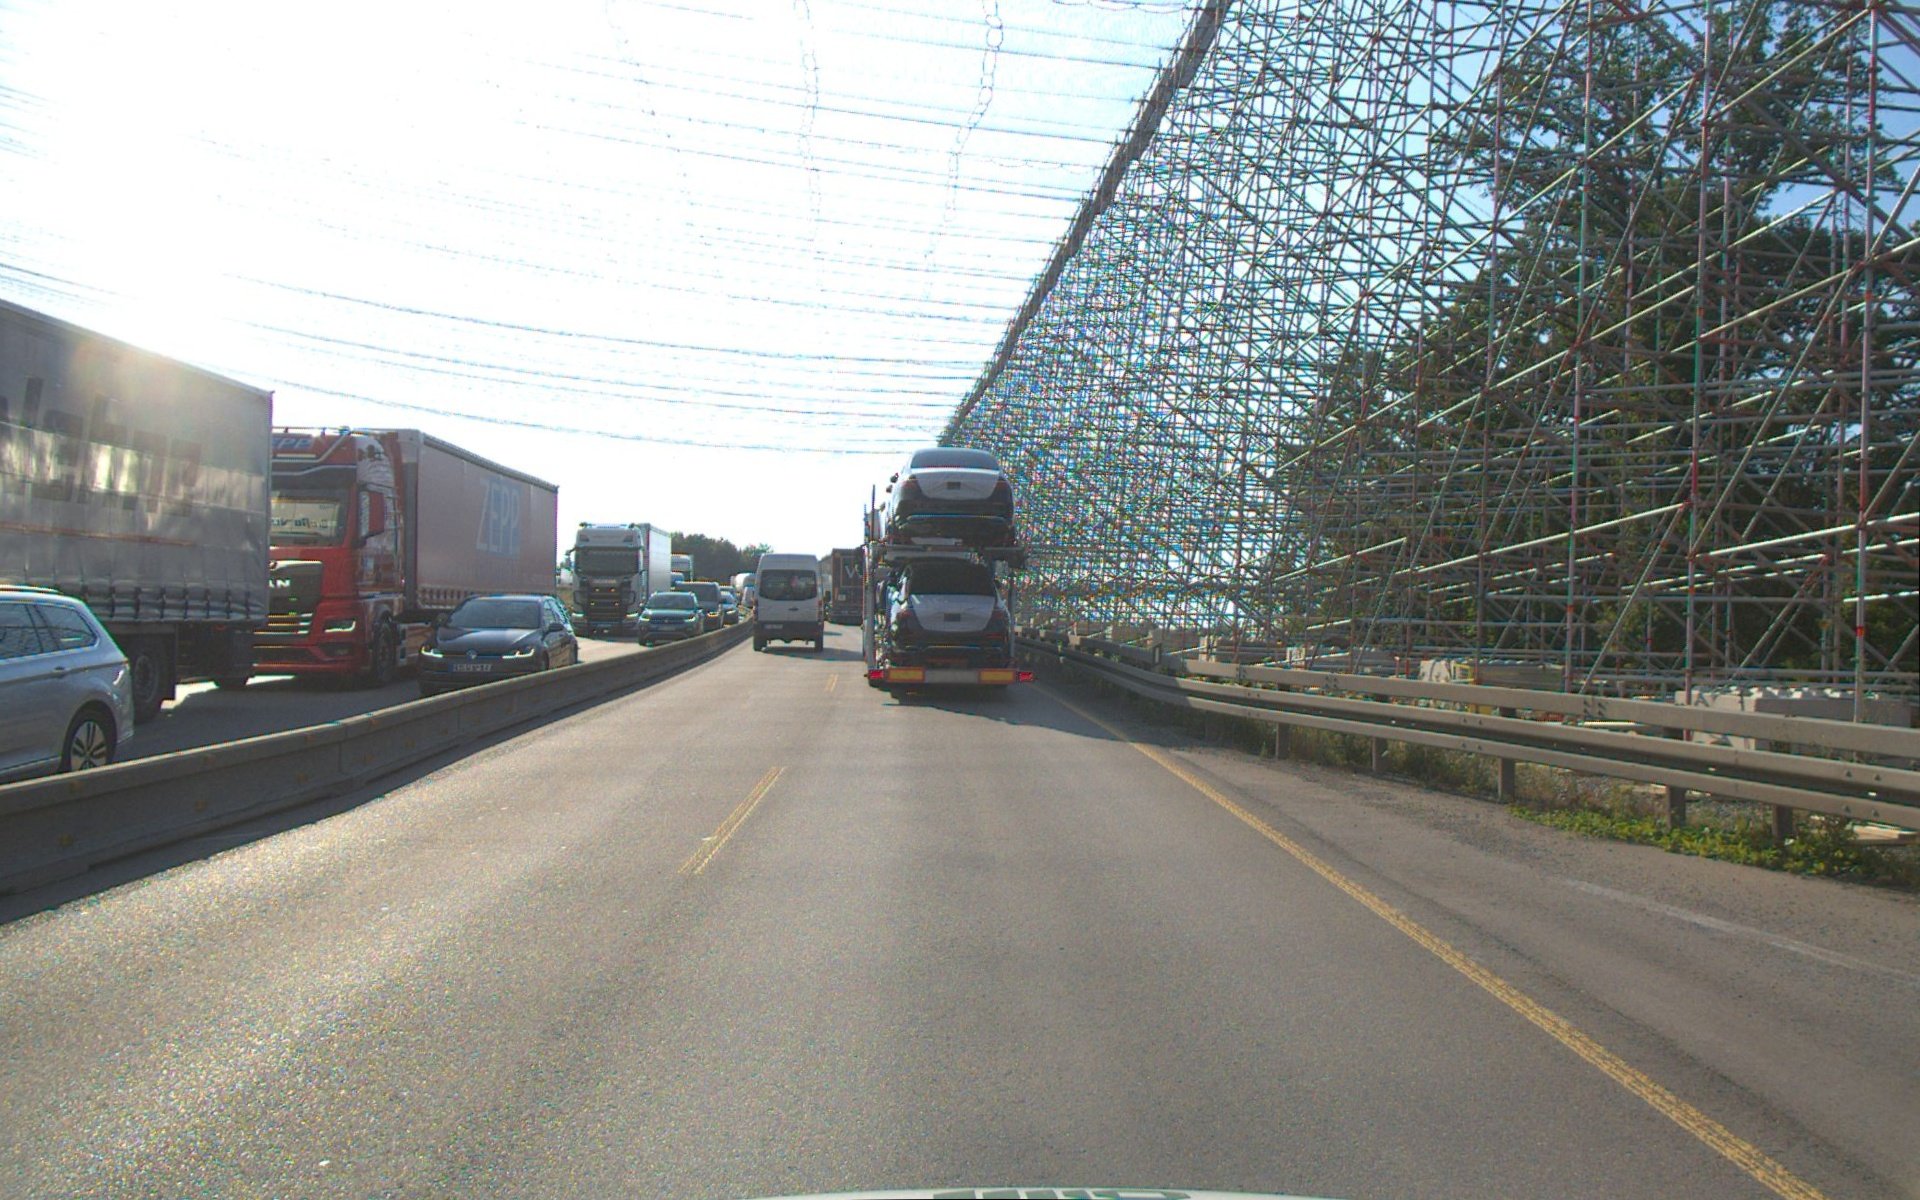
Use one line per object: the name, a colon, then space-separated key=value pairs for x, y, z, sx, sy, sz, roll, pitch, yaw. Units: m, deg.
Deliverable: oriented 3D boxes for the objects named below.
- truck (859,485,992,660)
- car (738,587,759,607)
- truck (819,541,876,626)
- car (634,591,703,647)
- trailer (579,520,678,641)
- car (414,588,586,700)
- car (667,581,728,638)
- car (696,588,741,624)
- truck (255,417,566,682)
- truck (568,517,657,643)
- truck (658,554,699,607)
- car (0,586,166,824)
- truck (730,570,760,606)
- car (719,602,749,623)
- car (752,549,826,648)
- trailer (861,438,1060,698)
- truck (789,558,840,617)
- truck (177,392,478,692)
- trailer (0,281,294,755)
truck: x=-0.925 y=-0.573 z=39.473 sx=2.824 sy=3.767 sz=7.320 roll=1 pitch=0 yaw=-3
car: x=-17.409 y=-0.241 z=136.156 sx=1.679 sy=1.646 sz=3.496 roll=1 pitch=0 yaw=-8
truck: x=-6.515 y=-0.926 z=94.683 sx=2.680 sy=4.462 sz=11.506 roll=2 pitch=0 yaw=-6
car: x=-8.802 y=0.547 z=50.173 sx=1.709 sy=1.561 sz=4.262 roll=2 pitch=0 yaw=-6
trailer: x=-13.248 y=-0.741 z=67.090 sx=2.603 sy=4.307 sz=13.900 roll=2 pitch=0 yaw=-6
car: x=-6.853 y=0.612 z=25.066 sx=1.618 sy=1.489 sz=4.396 roll=2 pitch=0 yaw=-4
car: x=-9.657 y=0.333 z=61.098 sx=1.838 sy=1.969 sz=4.856 roll=2 pitch=0 yaw=-5
car: x=-11.020 y=0.268 z=75.836 sx=1.750 sy=1.528 sz=4.748 roll=2 pitch=0 yaw=-6
truck: x=-10.466 y=-0.763 z=33.482 sx=2.733 sy=4.214 sz=13.793 roll=1 pitch=0 yaw=-5
truck: x=-12.533 y=-0.683 z=60.125 sx=2.612 sy=4.304 sz=6.095 roll=1 pitch=0 yaw=-7
truck: x=-20.319 y=-1.356 z=118.969 sx=2.548 sy=3.534 sz=12.360 roll=2 pitch=0 yaw=-11
car: x=-6.740 y=0.631 z=9.902 sx=1.697 sy=1.464 sz=4.836 roll=1 pitch=0 yaw=-1
truck: x=-23.794 y=-1.290 z=182.638 sx=2.570 sy=3.788 sz=9.632 roll=2 pitch=0 yaw=-11
car: x=-16.850 y=0.933 z=123.319 sx=1.805 sy=1.479 sz=3.987 roll=2 pitch=0 yaw=-13
car: x=-4.865 y=-0.006 z=46.594 sx=1.920 sy=2.667 sz=3.992 roll=0 pitch=-1 yaw=-8
trailer: x=-0.428 y=-0.419 z=31.745 sx=2.812 sy=3.790 sz=14.935 roll=1 pitch=0 yaw=-4
truck: x=-11.425 y=-0.933 z=130.593 sx=3.615 sy=4.294 sz=13.655 roll=-2 pitch=0 yaw=-5
truck: x=-9.913 y=-0.795 z=26.763 sx=2.733 sy=4.214 sz=6.672 roll=1 pitch=-1 yaw=-5
trailer: x=-9.903 y=-0.737 z=14.607 sx=2.742 sy=4.214 sz=13.961 roll=1 pitch=0 yaw=-2
